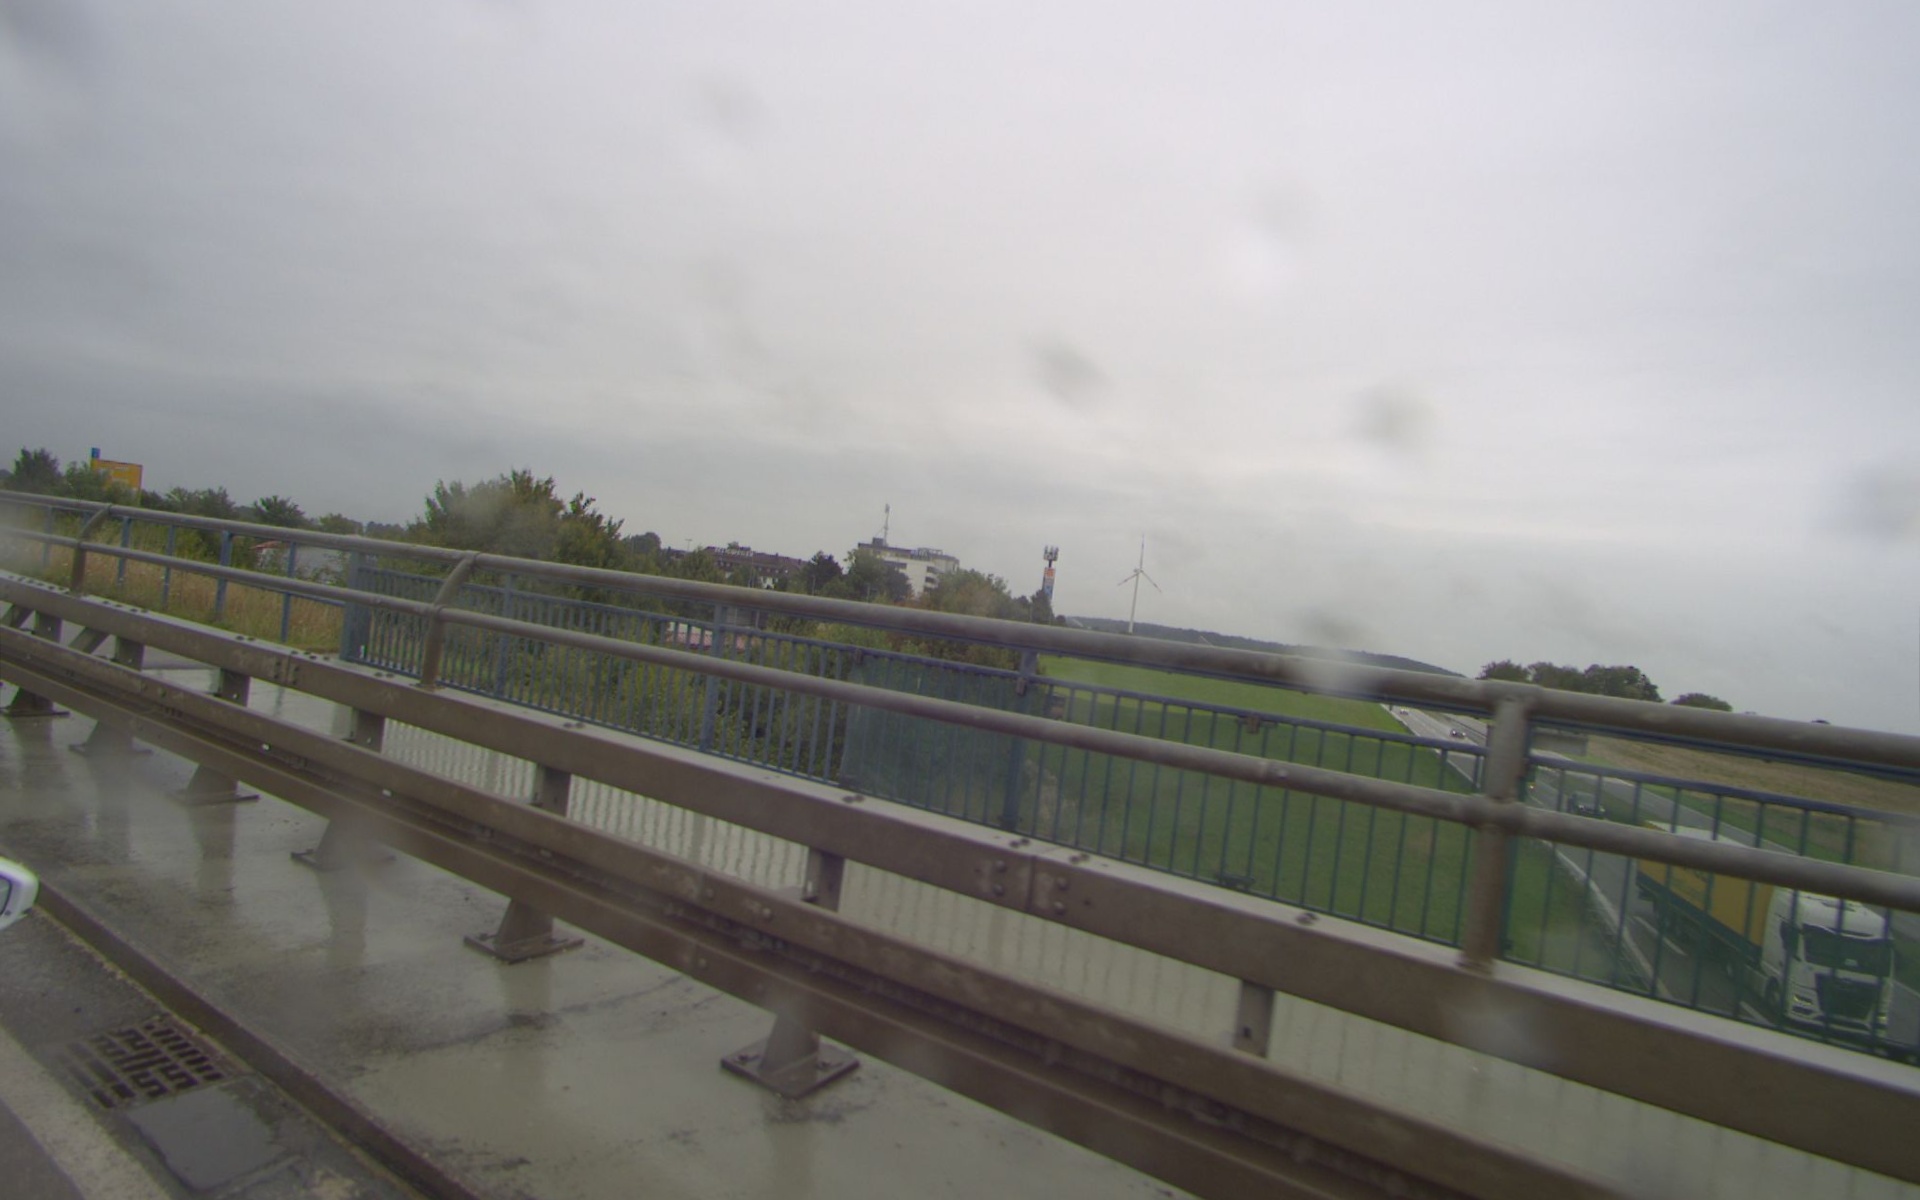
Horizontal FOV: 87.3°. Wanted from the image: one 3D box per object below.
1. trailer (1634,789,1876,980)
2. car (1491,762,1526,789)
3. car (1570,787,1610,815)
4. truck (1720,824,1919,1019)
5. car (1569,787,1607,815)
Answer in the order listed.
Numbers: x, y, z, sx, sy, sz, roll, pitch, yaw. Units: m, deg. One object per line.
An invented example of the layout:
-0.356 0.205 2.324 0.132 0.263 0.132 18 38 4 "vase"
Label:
30.132 10.415 39.190 2.829 4.015 14.026 8 -1 21 "trailer"
49.162 15.689 90.240 1.963 1.783 4.006 8 -3 19 "car"
49.105 15.661 78.452 1.646 1.368 4.001 7 -1 20 "car"
27.554 9.961 32.251 2.829 4.015 6.821 8 0 21 "truck"
48.850 15.603 78.303 1.646 1.367 4.001 8 -1 21 "car"
